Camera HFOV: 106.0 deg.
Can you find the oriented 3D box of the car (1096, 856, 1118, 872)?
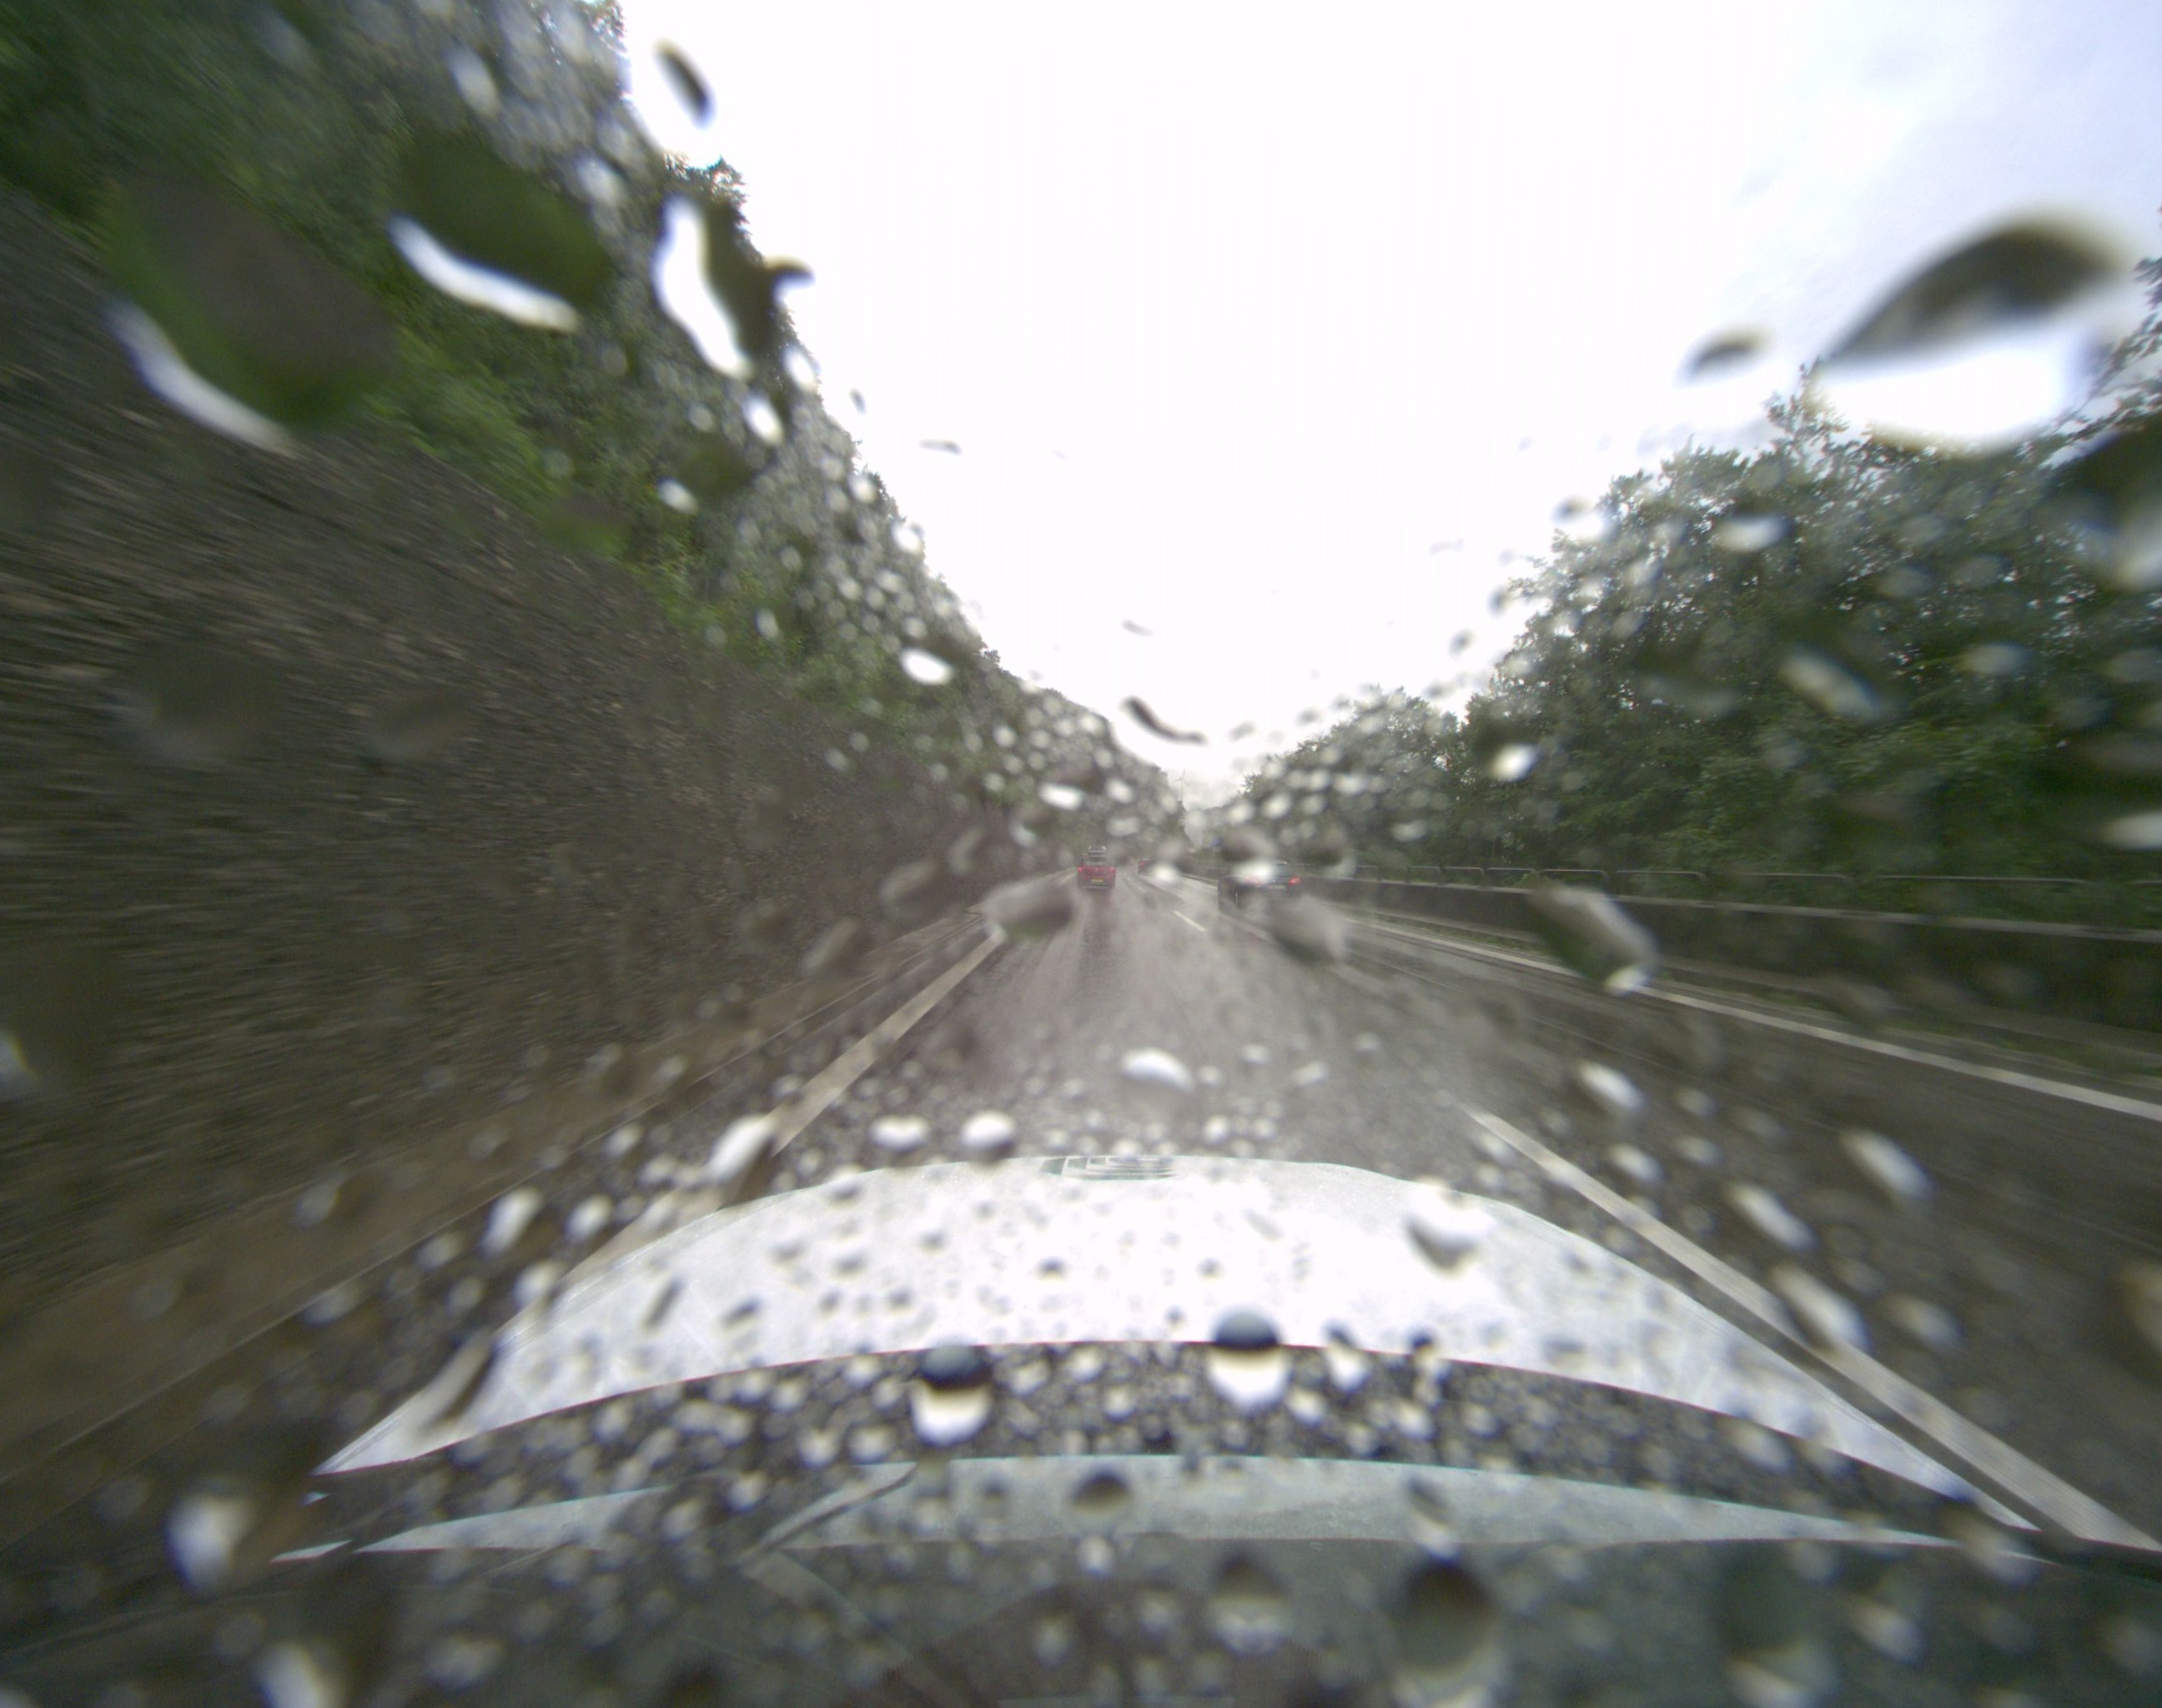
[{"bbox_3d":[2.322,0.877,74.069,1.986,1.354,4.001,0,0,1],"label":"car"}]

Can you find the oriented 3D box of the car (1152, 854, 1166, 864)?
[{"bbox_3d":[14.356,0.927,150.012,1.810,1.719,4.018,-1,0,18],"label":"car"}]

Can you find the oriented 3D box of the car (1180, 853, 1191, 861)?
[{"bbox_3d":[26.294,0.812,205.164,2.434,2.014,4.749,0,0,10],"label":"car"}]

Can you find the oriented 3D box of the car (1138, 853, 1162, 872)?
[{"bbox_3d":[6.230,0.761,74.123,1.985,1.552,4.003,-2,0,2],"label":"car"}]

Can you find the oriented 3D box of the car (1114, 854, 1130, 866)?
[{"bbox_3d":[5.921,0.854,117.249,1.857,1.684,4.009,-1,0,8],"label":"car"}]

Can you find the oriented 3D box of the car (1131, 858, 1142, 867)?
[{"bbox_3d":[10.930,1.675,159.355,1.985,1.749,4.003,-2,0,2],"label":"car"}]

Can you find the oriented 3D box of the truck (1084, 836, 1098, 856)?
[{"bbox_3d":[1.442,-1.057,114.906,1.986,2.751,5.587,0,0,1],"label":"truck"}]

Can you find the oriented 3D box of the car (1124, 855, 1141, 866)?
[{"bbox_3d":[8.695,1.056,137.117,1.852,1.695,4.017,-2,-2,17],"label":"car"}]

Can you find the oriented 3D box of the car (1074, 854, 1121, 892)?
[{"bbox_3d":[0.743,0.869,37.569,1.987,1.552,3.999,-2,-1,0],"label":"car"}]

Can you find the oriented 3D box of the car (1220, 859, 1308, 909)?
[{"bbox_3d":[5.287,0.820,24.010,1.794,1.307,4.001,0,0,2],"label":"car"}]
